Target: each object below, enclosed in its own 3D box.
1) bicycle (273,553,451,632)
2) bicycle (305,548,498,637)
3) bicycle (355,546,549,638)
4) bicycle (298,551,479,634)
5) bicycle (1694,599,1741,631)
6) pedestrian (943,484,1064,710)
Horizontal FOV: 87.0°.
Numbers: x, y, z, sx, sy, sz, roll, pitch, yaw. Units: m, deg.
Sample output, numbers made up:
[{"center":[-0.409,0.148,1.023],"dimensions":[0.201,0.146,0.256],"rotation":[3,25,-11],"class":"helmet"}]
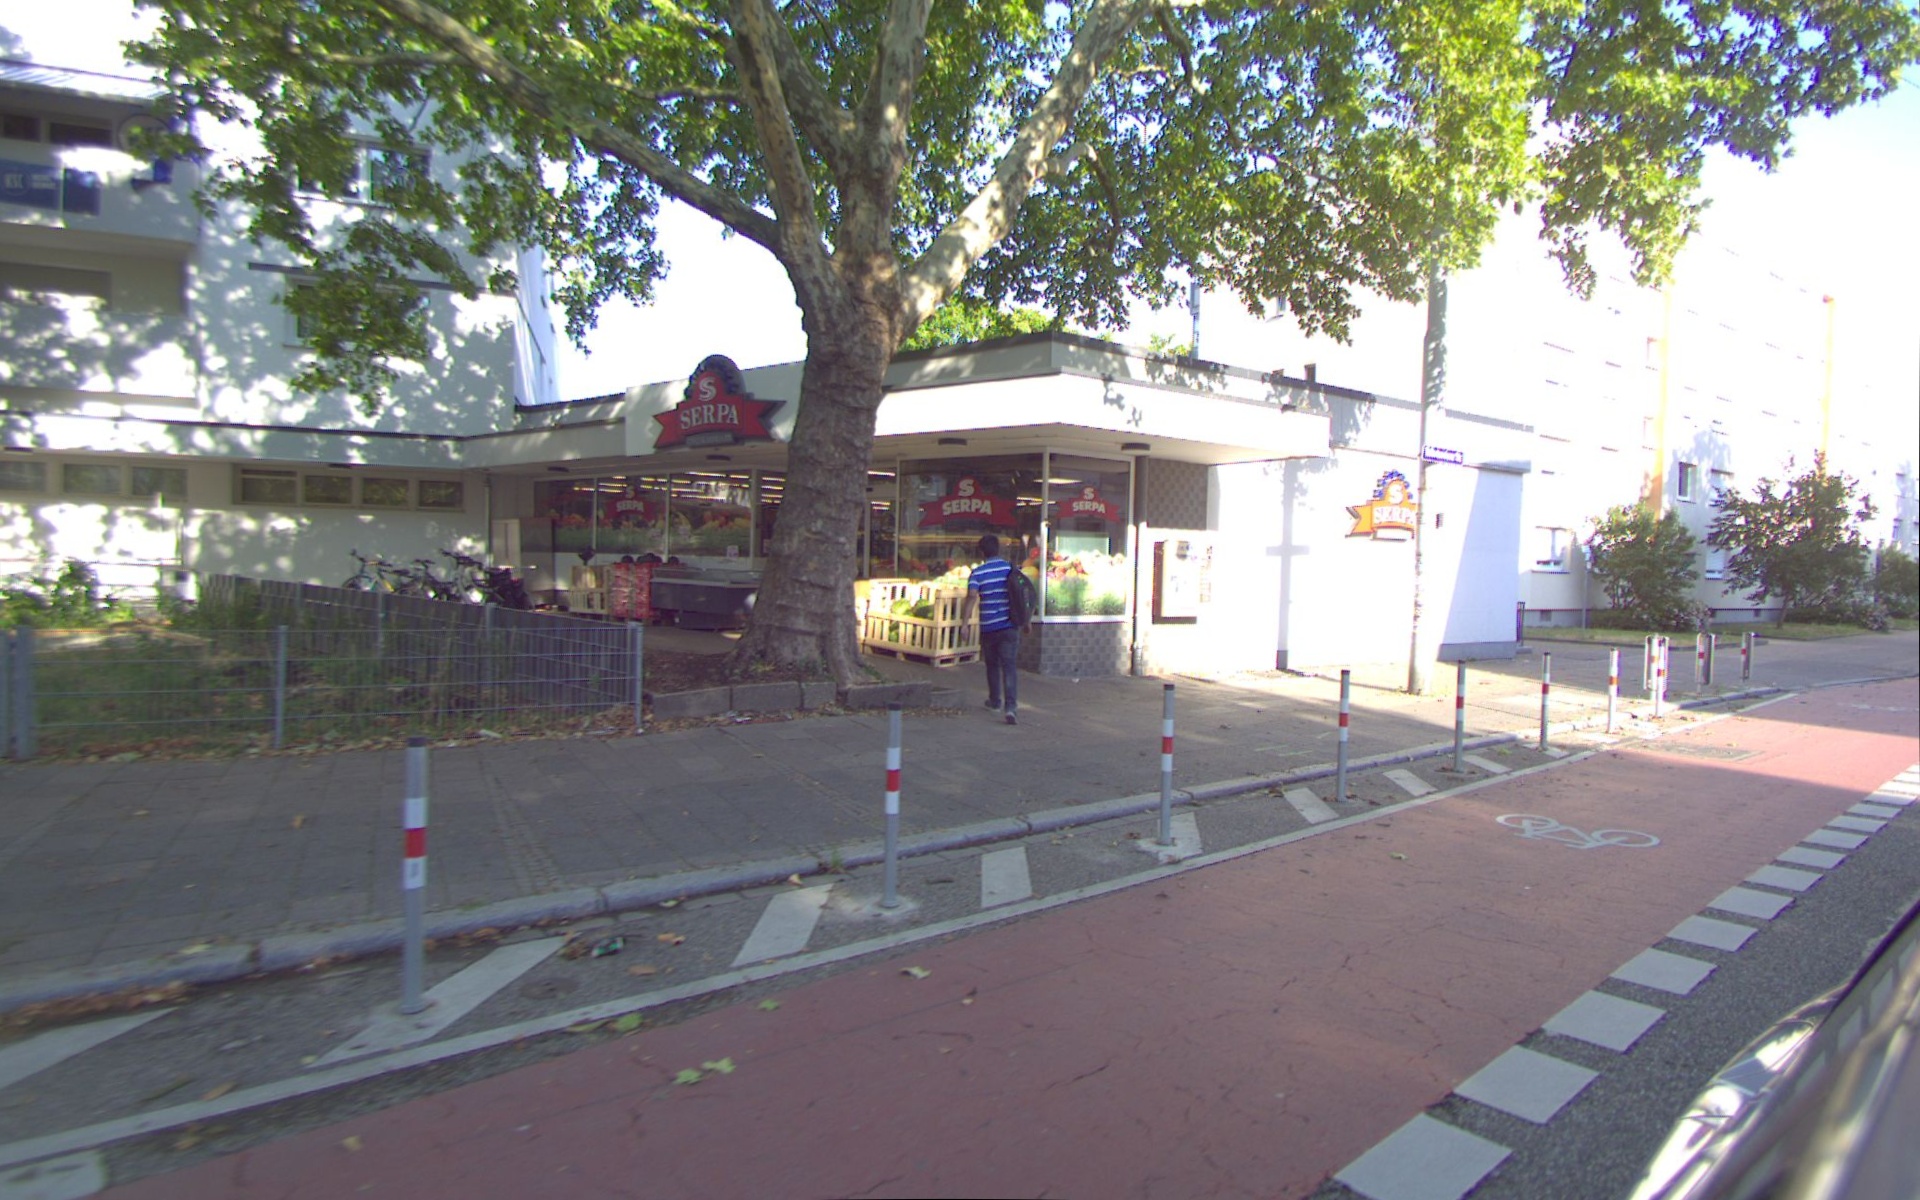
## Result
[{"center":[-9.618,-0.135,16.403],"dimensions":[0.762,1.188,2.399],"rotation":[0,1,32],"class":"bicycle"},{"center":[-8.051,-0.126,14.725],"dimensions":[0.762,1.188,2.399],"rotation":[0,1,32],"class":"bicycle"},{"center":[-7.085,-0.130,14.270],"dimensions":[0.762,1.188,2.399],"rotation":[0,1,32],"class":"bicycle"},{"center":[-8.868,-0.135,15.827],"dimensions":[0.762,1.188,2.399],"rotation":[0,1,32],"class":"bicycle"},{"center":[23.373,0.479,31.205],"dimensions":[2.189,0.937,0.638],"rotation":[2,-1,-39],"class":"bicycle"},{"center":[0.384,-0.062,9.750],"dimensions":[0.812,2.037,1.156],"rotation":[2,4,-12],"class":"pedestrian"}]
